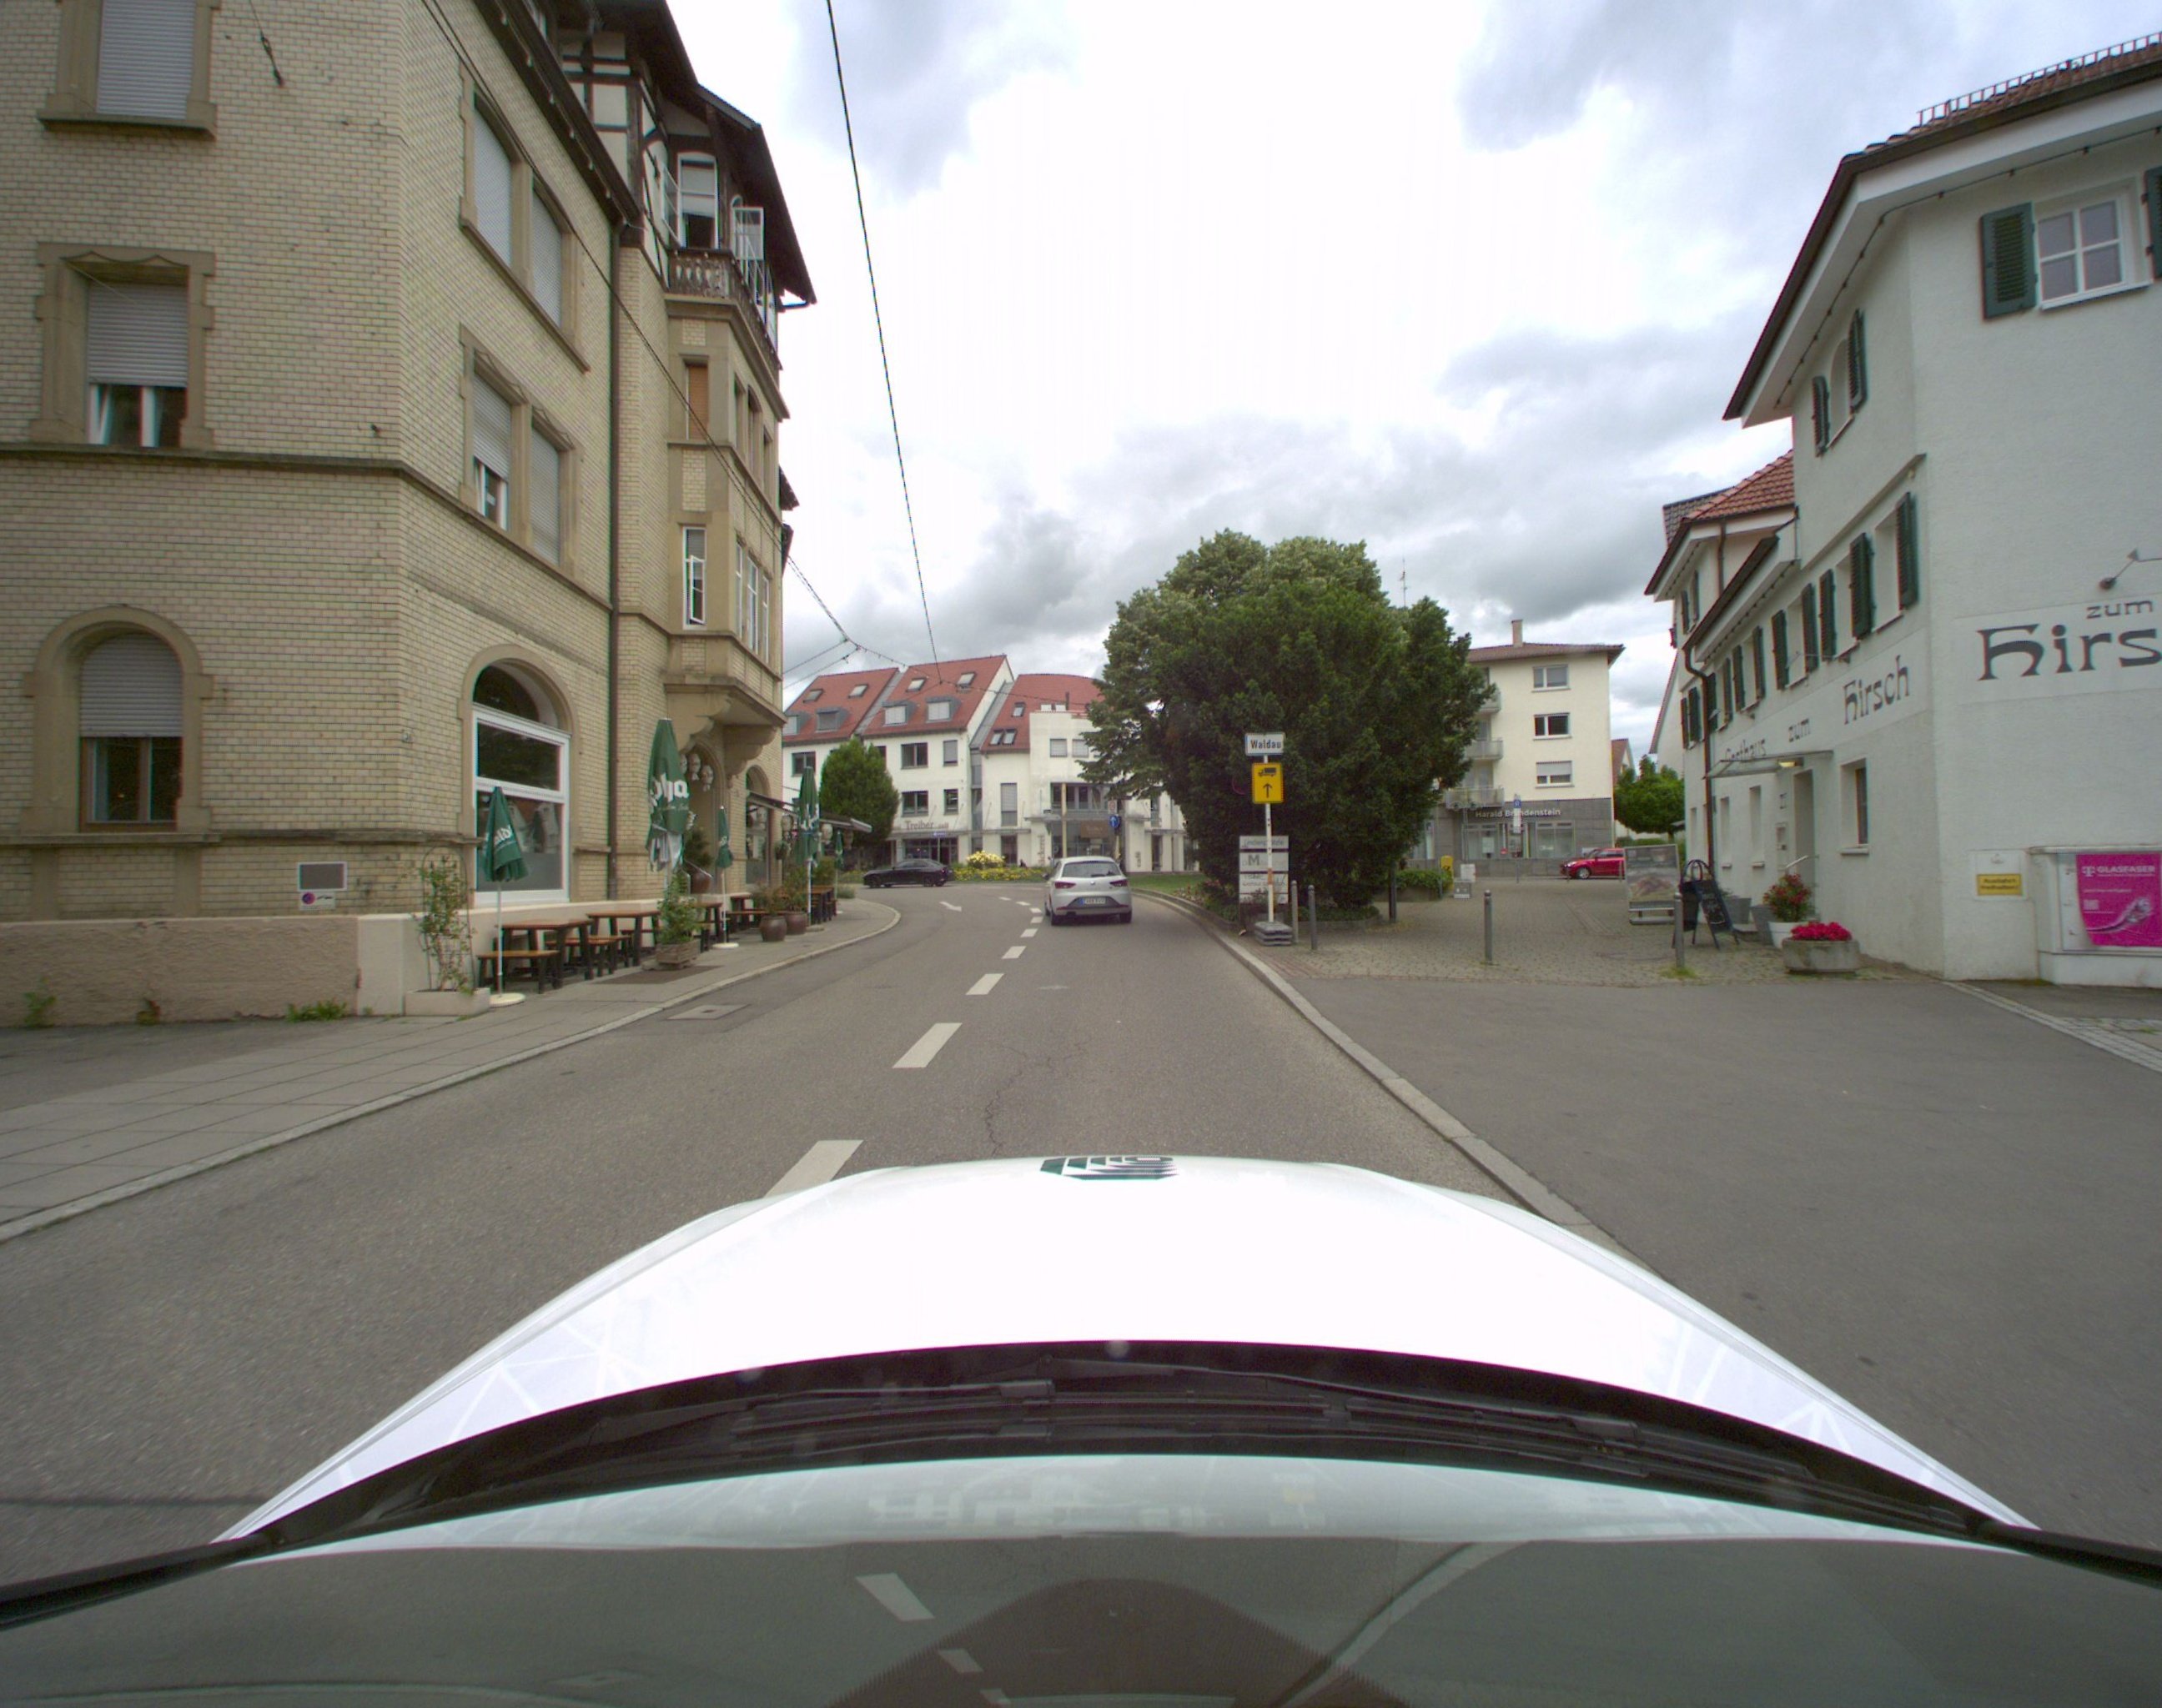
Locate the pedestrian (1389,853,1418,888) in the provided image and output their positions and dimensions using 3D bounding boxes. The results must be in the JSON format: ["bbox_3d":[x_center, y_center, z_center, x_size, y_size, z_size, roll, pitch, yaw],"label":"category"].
[{"bbox_3d":[13.201,0.678,33.377,0.850,1.380,0.977,0,-1,6],"label":"pedestrian"}]

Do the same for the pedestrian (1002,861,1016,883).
[{"bbox_3d":[-4.610,1.147,52.212,0.697,1.332,0.685,-1,-1,6],"label":"pedestrian"}]

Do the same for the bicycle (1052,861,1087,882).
[{"bbox_3d":[-0.674,1.037,47.996,1.958,1.240,0.747,-1,-1,18],"label":"bicycle"}]

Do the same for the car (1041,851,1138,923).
[{"bbox_3d":[0.074,0.660,18.725,1.840,1.434,3.993,-1,1,-5],"label":"car"}]

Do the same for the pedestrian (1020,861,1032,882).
[{"bbox_3d":[-3.518,1.111,52.003,0.651,1.341,0.697,-1,-1,6],"label":"pedestrian"}]

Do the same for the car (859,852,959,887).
[{"bbox_3d":[-8.435,0.755,40.178,4.335,1.675,2.046,0,0,7],"label":"car"}]

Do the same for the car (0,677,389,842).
[{"bbox_3d":[-13.274,-1.251,12.467,1.988,2.014,3.997,-1,0,-1],"label":"car"}]

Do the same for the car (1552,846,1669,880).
[{"bbox_3d":[25.510,0.420,39.416,4.338,1.547,2.132,0,0,14],"label":"car"}]

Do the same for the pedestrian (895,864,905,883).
[{"bbox_3d":[-12.115,1.286,54.547,0.486,1.271,0.504,-1,-1,19],"label":"pedestrian"}]
